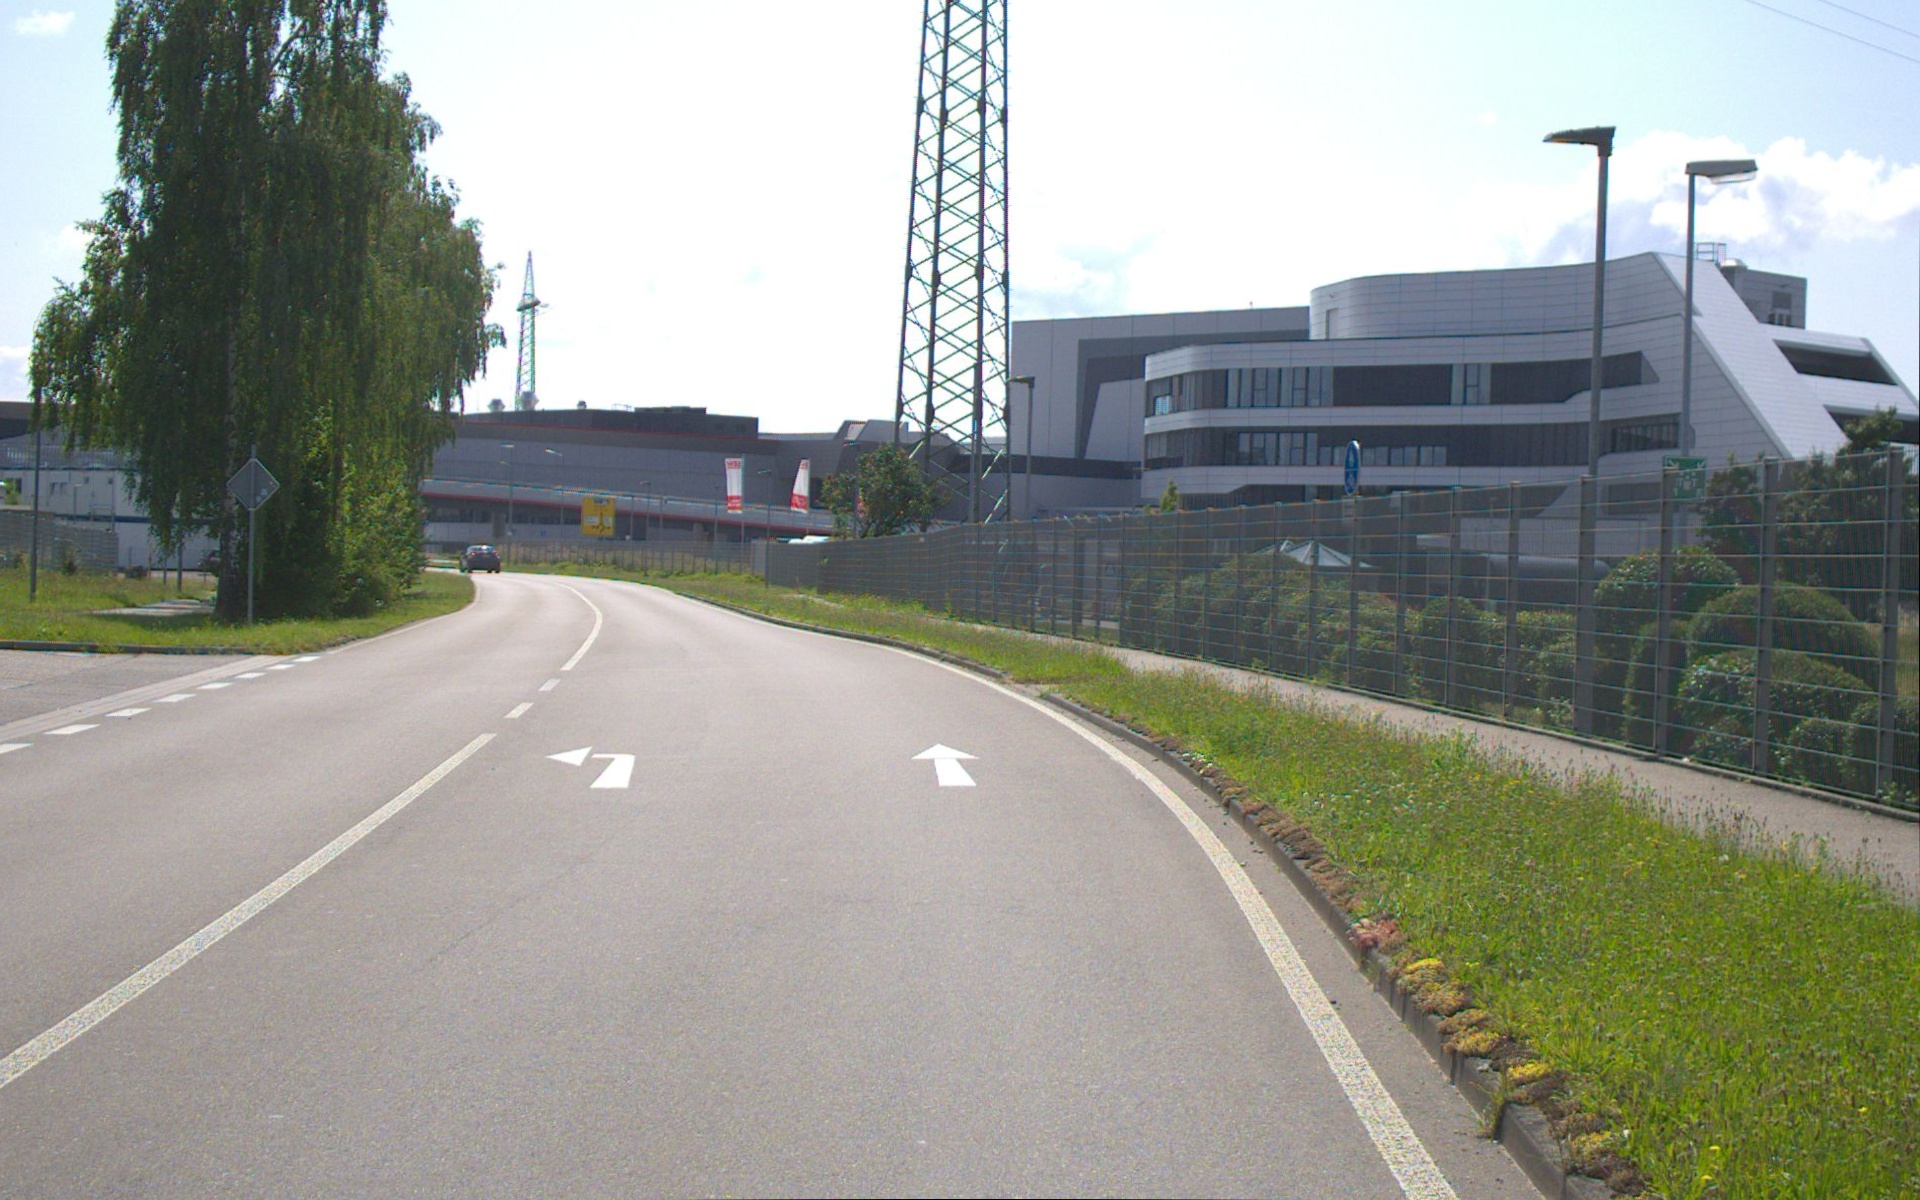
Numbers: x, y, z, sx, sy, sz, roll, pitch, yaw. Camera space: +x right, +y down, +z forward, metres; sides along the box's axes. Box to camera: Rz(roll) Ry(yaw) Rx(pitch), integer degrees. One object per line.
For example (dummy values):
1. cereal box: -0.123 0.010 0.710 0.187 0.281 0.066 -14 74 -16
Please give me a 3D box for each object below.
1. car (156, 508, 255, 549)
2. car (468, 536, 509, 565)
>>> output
1. car: -32.616 -3.084 148.662 3.986 1.568 2.001 2 1 -8
2. car: -26.596 -2.797 194.100 2.012 1.503 4.001 2 1 -5
